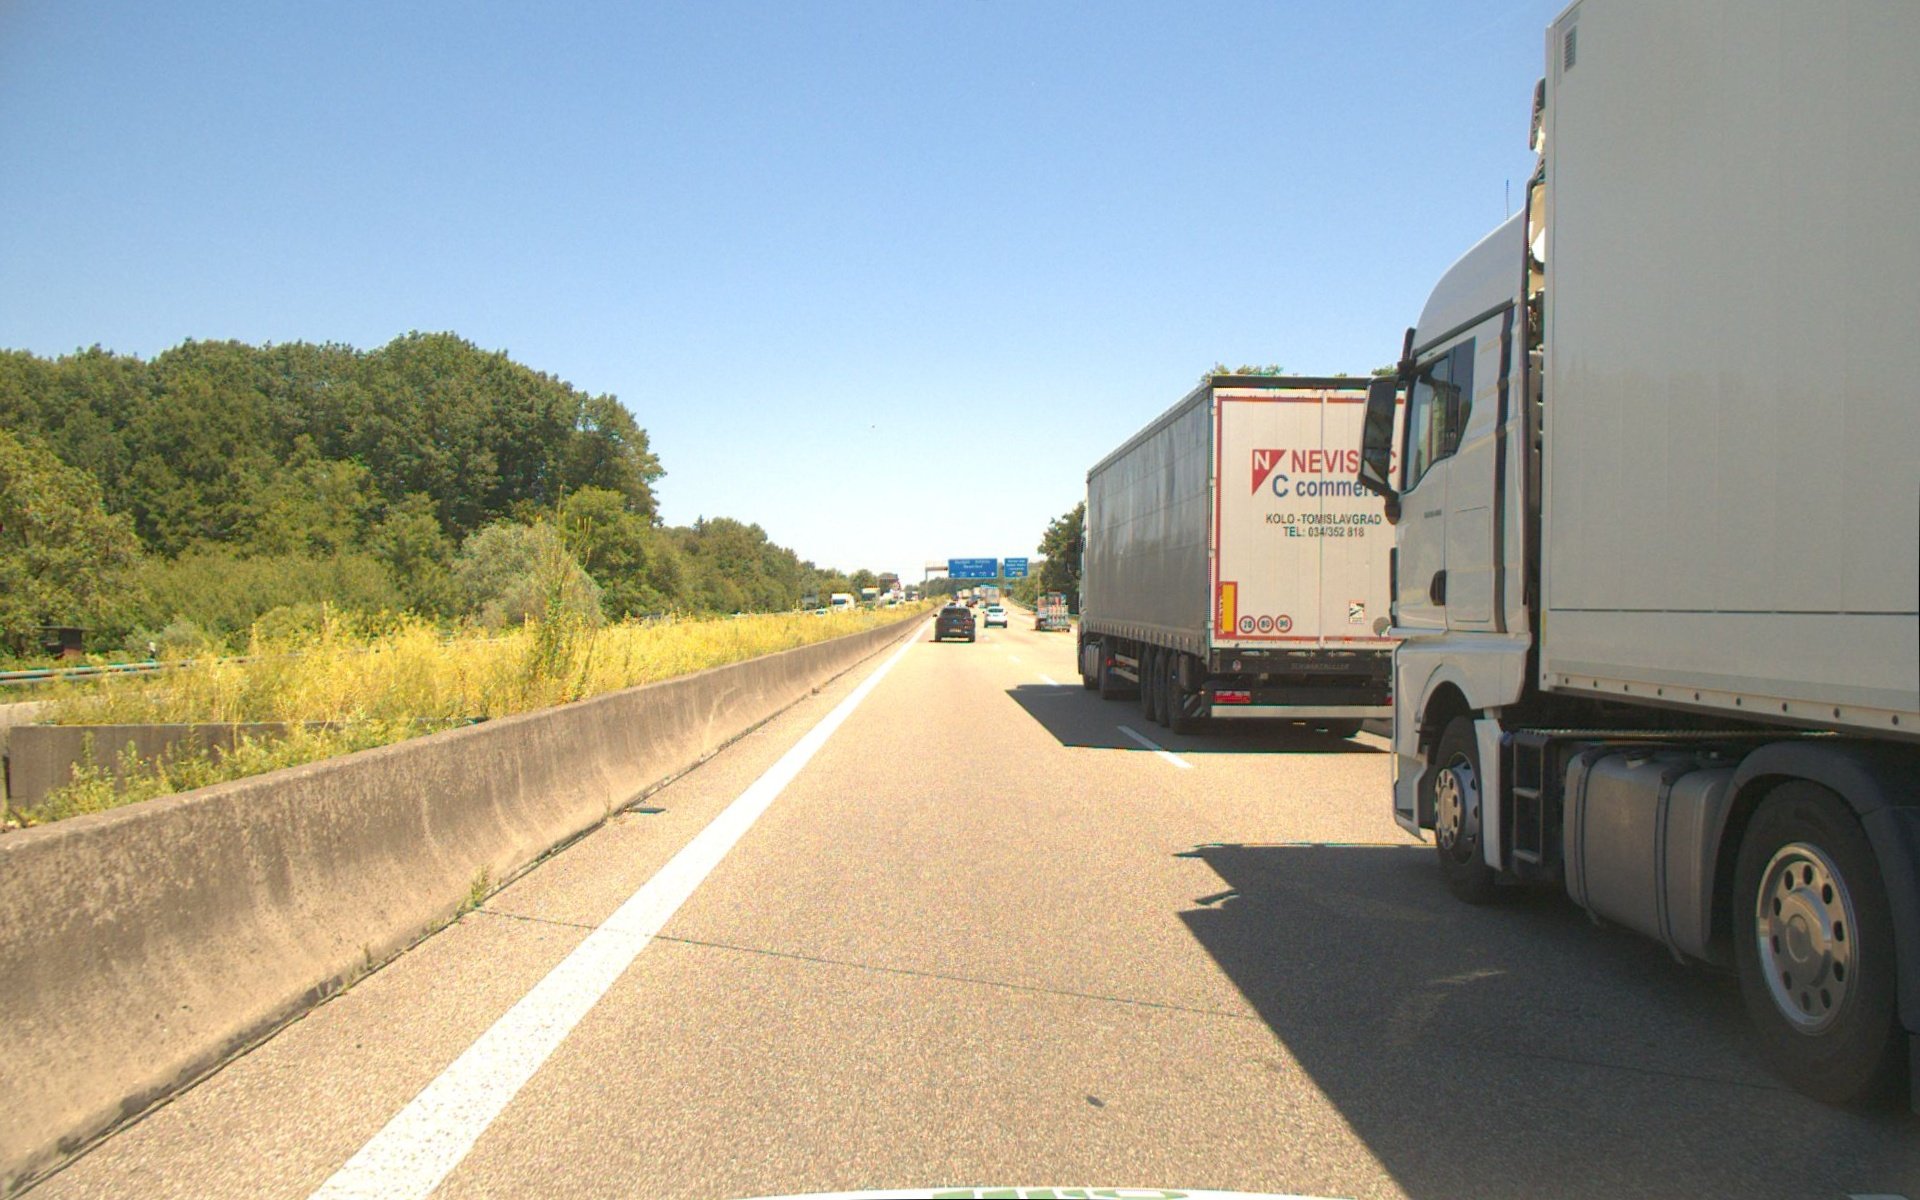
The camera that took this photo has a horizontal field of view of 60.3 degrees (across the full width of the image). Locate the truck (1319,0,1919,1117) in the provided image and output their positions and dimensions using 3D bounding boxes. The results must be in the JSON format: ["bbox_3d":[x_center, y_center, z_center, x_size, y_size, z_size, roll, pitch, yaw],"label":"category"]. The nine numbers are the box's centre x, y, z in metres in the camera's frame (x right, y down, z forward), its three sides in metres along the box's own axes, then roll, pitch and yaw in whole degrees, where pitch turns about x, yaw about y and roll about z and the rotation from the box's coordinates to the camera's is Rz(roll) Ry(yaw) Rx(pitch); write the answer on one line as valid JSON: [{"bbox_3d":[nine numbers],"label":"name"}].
[{"bbox_3d":[3.820,-0.464,7.988,2.743,4.077,6.018,0,-1,-1],"label":"truck"}]

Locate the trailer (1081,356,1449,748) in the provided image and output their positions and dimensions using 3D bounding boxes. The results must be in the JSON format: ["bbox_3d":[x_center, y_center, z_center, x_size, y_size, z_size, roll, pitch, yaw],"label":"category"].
[{"bbox_3d":[3.800,-0.371,24.975,2.652,4.140,14.742,1,-1,-1],"label":"trailer"}]

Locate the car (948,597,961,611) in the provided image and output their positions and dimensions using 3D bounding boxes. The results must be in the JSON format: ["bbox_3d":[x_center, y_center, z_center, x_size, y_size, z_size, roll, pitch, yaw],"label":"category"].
[{"bbox_3d":[-0.816,0.583,241.170,1.953,2.049,3.999,-1,-1,-1],"label":"car"}]

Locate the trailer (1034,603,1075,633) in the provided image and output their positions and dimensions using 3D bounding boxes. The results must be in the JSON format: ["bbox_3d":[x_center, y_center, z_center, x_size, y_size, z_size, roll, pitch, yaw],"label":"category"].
[{"bbox_3d":[6.627,1.244,116.450,2.371,2.049,6.032,0,0,-1],"label":"trailer"}]

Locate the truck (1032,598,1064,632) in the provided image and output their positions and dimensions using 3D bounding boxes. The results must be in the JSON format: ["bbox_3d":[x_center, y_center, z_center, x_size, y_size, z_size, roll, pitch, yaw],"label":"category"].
[{"bbox_3d":[6.467,1.096,121.796,1.953,2.415,4.643,0,0,-1],"label":"truck"}]

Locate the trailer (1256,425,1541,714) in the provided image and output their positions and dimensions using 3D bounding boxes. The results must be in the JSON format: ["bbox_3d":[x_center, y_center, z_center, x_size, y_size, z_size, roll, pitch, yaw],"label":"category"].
[{"bbox_3d":[7.537,-0.370,30.128,2.269,4.316,10.651,1,-1,-1],"label":"trailer"}]

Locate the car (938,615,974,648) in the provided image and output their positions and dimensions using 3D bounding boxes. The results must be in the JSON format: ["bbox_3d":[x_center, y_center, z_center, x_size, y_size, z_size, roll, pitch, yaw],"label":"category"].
[{"bbox_3d":[-0.198,1.547,80.925,1.626,1.576,3.781,1,-1,-2],"label":"car"}]

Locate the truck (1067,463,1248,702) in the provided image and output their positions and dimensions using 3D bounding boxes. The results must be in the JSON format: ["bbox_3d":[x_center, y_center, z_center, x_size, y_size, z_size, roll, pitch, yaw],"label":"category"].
[{"bbox_3d":[3.679,-0.247,32.230,2.645,4.166,6.451,1,-1,-1],"label":"truck"}]

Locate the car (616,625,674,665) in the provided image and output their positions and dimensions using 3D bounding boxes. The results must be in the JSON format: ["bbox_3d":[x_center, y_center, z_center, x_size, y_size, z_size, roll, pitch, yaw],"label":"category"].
[{"bbox_3d":[-14.194,2.024,74.720,1.786,1.682,4.170,-2,-1,-1],"label":"car"}]

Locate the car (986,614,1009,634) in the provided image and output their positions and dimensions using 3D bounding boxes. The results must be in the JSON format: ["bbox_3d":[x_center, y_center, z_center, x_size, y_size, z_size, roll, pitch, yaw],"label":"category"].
[{"bbox_3d":[3.022,1.934,133.526,1.704,1.512,3.999,0,-1,0],"label":"car"}]
